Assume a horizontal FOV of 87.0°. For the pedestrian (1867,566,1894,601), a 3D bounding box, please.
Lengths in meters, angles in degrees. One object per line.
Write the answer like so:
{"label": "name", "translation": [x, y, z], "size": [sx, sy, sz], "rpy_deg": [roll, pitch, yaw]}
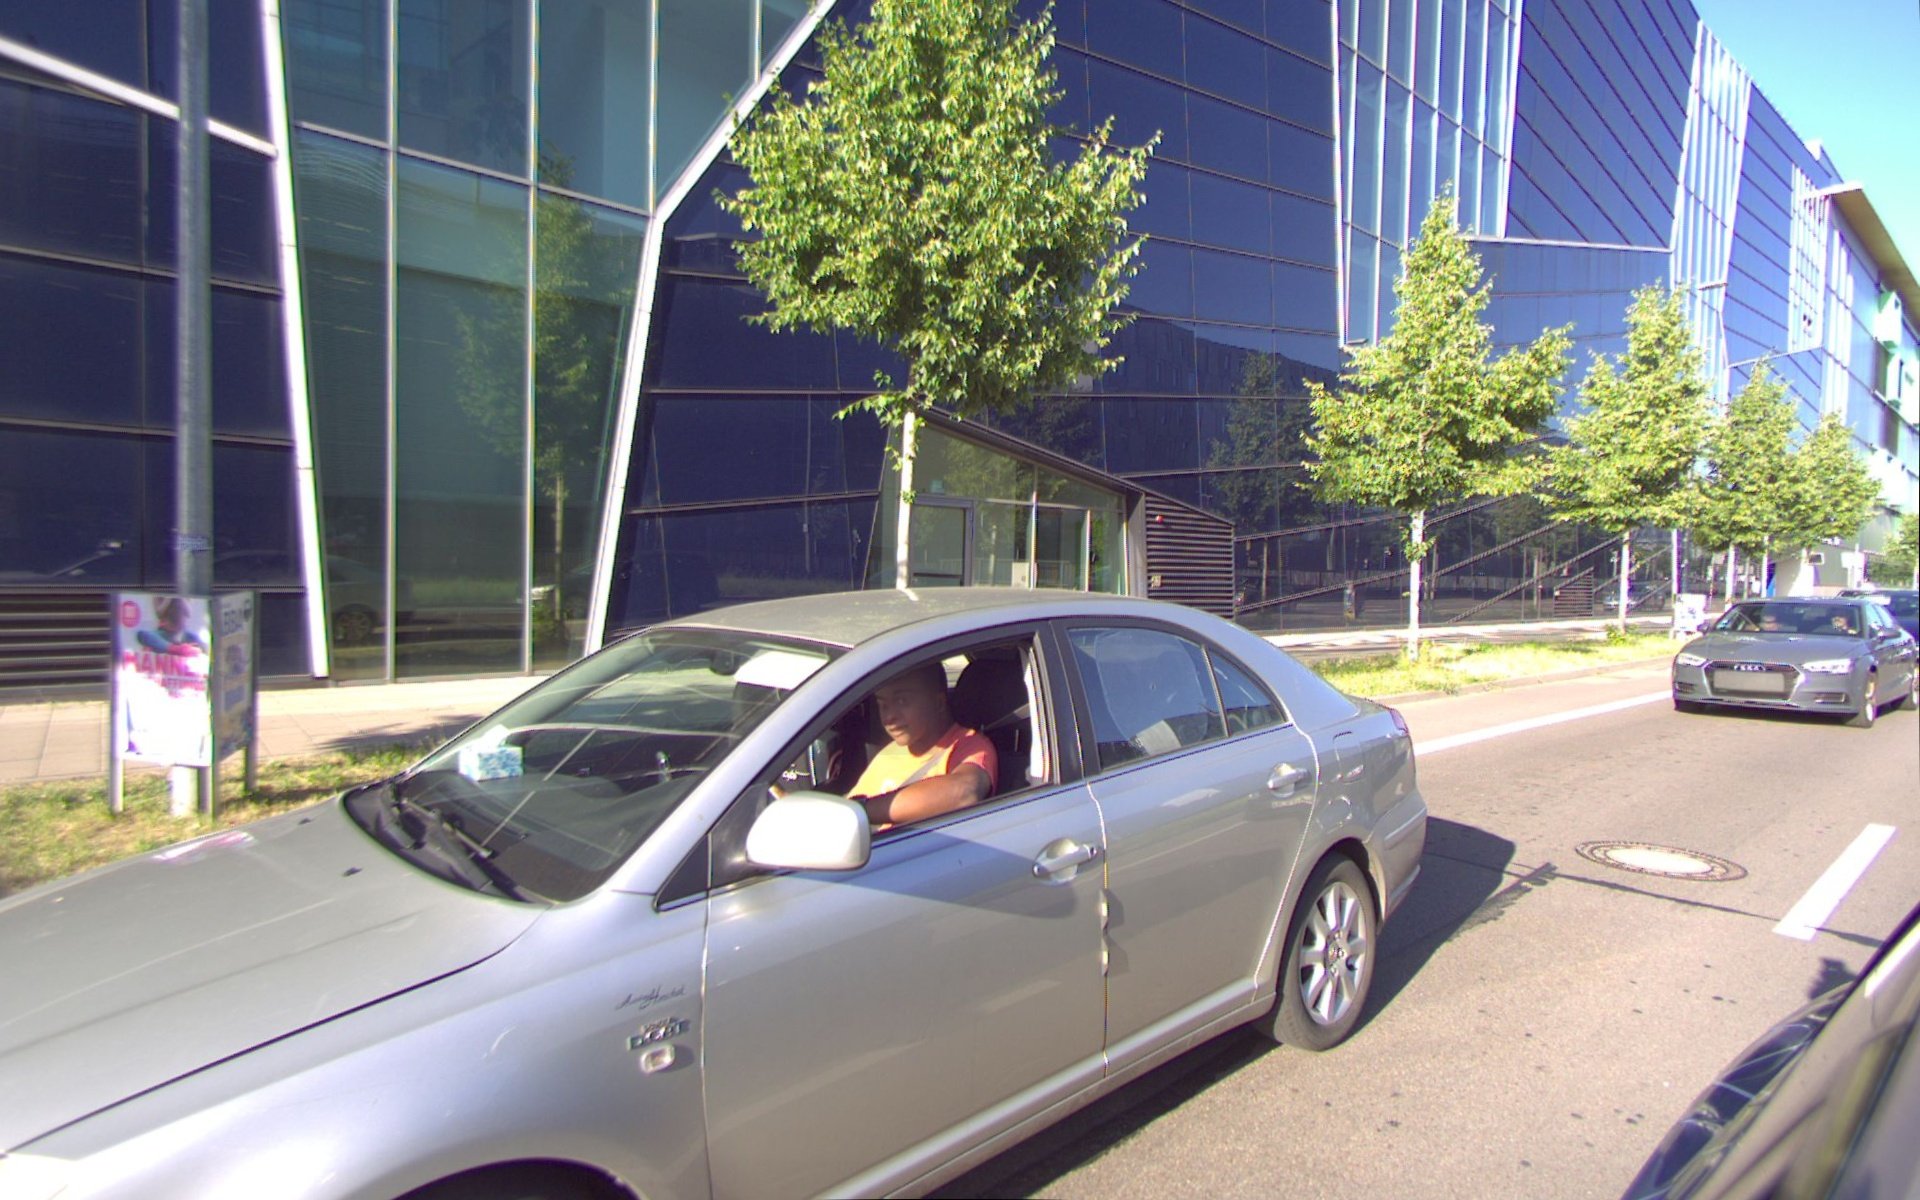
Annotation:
{"label": "pedestrian", "translation": [49.926, -0.890, 54.912], "size": [0.889, 1.845, 0.829], "rpy_deg": [0, 6, -41]}

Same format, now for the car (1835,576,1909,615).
{"label": "car", "translation": [39.056, -0.214, 43.283], "size": [4.633, 1.516, 1.739], "rpy_deg": [-1, 4, -41]}

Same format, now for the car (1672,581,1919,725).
{"label": "car", "translation": [10.268, 0.494, 12.138], "size": [4.188, 1.409, 1.750], "rpy_deg": [-1, 2, -39]}

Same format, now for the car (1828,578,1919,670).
{"label": "car", "translation": [16.894, 0.369, 17.933], "size": [3.903, 1.496, 1.752], "rpy_deg": [-1, 2, -41]}

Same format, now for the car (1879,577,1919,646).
{"label": "car", "translation": [22.382, 0.242, 23.054], "size": [3.358, 1.496, 1.752], "rpy_deg": [-1, 2, -41]}

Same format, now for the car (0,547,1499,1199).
{"label": "car", "translation": [-0.192, 0.625, 3.031], "size": [4.550, 1.499, 1.748], "rpy_deg": [-1, 3, -42]}
